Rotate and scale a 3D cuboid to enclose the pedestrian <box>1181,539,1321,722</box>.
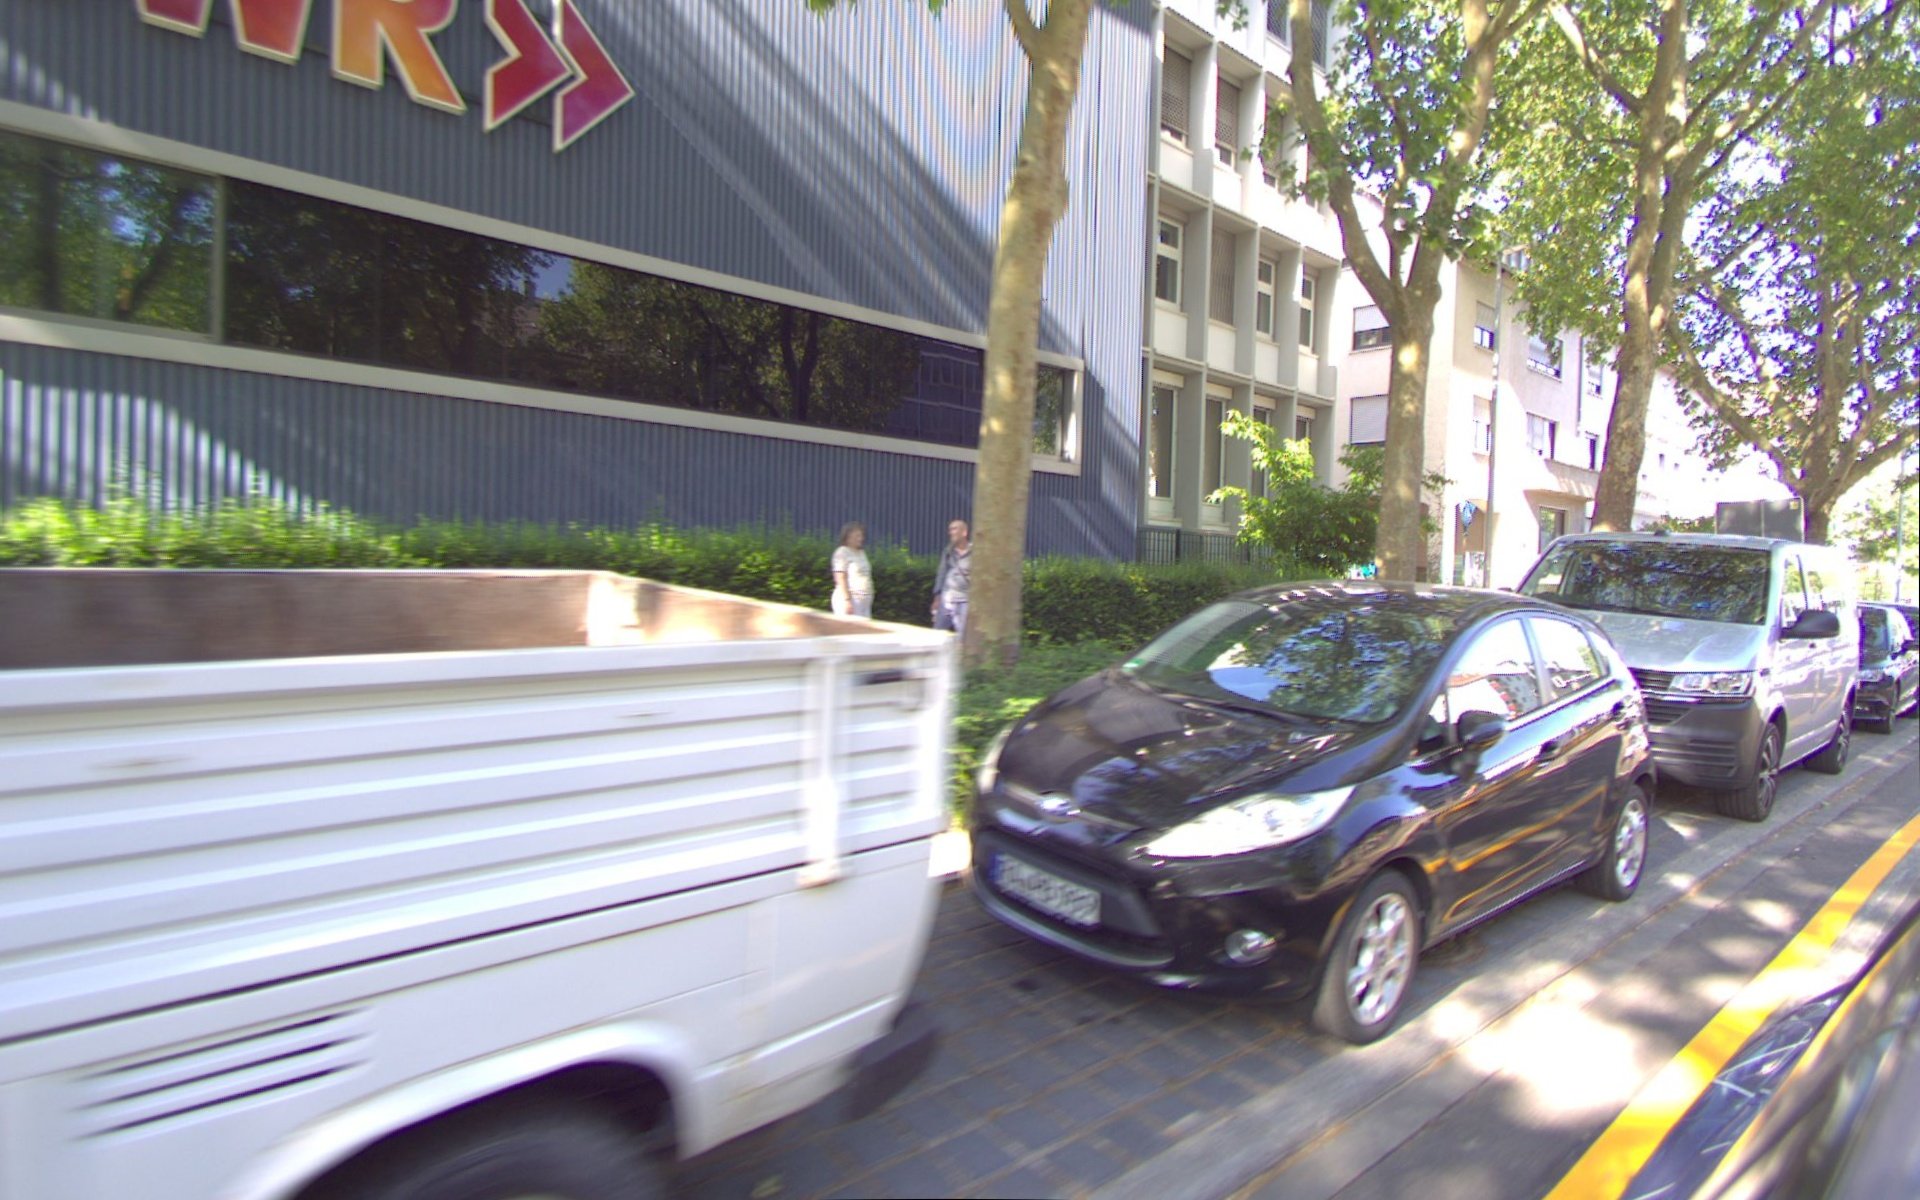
[{"bbox_3d":[2.792,0.257,9.667,1.246,1.622,0.728,0,1,-44],"label":"pedestrian"}]

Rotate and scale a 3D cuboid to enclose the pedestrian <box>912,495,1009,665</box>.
[{"bbox_3d":[0.006,-0.183,10.469,0.663,1.671,0.706,4,-4,-43],"label":"pedestrian"}]

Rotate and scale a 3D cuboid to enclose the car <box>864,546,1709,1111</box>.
[{"bbox_3d":[1.736,0.565,4.633,4.027,1.495,1.752,0,2,-39],"label":"car"}]

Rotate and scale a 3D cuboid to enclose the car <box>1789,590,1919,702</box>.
[{"bbox_3d":[14.619,0.635,15.913,4.177,1.527,1.767,0,1,-41],"label":"car"}]

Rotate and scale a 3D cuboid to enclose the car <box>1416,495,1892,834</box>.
[{"bbox_3d":[5.968,0.337,8.376,5.182,1.971,2.029,0,2,-42],"label":"car"}]

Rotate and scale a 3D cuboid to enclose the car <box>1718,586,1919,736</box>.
[{"bbox_3d":[10.987,0.627,12.614,4.056,1.559,1.660,0,1,-41],"label":"car"}]

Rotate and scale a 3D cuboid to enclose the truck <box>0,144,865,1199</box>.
[{"bbox_3d":[-2.503,0.275,1.687,4.375,1.904,1.881,0,3,-41],"label":"truck"}]

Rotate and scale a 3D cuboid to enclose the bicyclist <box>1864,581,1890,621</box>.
[{"bbox_3d":[43.400,0.041,47.885,1.051,1.843,0.725,1,1,-40],"label":"bicyclist"}]
